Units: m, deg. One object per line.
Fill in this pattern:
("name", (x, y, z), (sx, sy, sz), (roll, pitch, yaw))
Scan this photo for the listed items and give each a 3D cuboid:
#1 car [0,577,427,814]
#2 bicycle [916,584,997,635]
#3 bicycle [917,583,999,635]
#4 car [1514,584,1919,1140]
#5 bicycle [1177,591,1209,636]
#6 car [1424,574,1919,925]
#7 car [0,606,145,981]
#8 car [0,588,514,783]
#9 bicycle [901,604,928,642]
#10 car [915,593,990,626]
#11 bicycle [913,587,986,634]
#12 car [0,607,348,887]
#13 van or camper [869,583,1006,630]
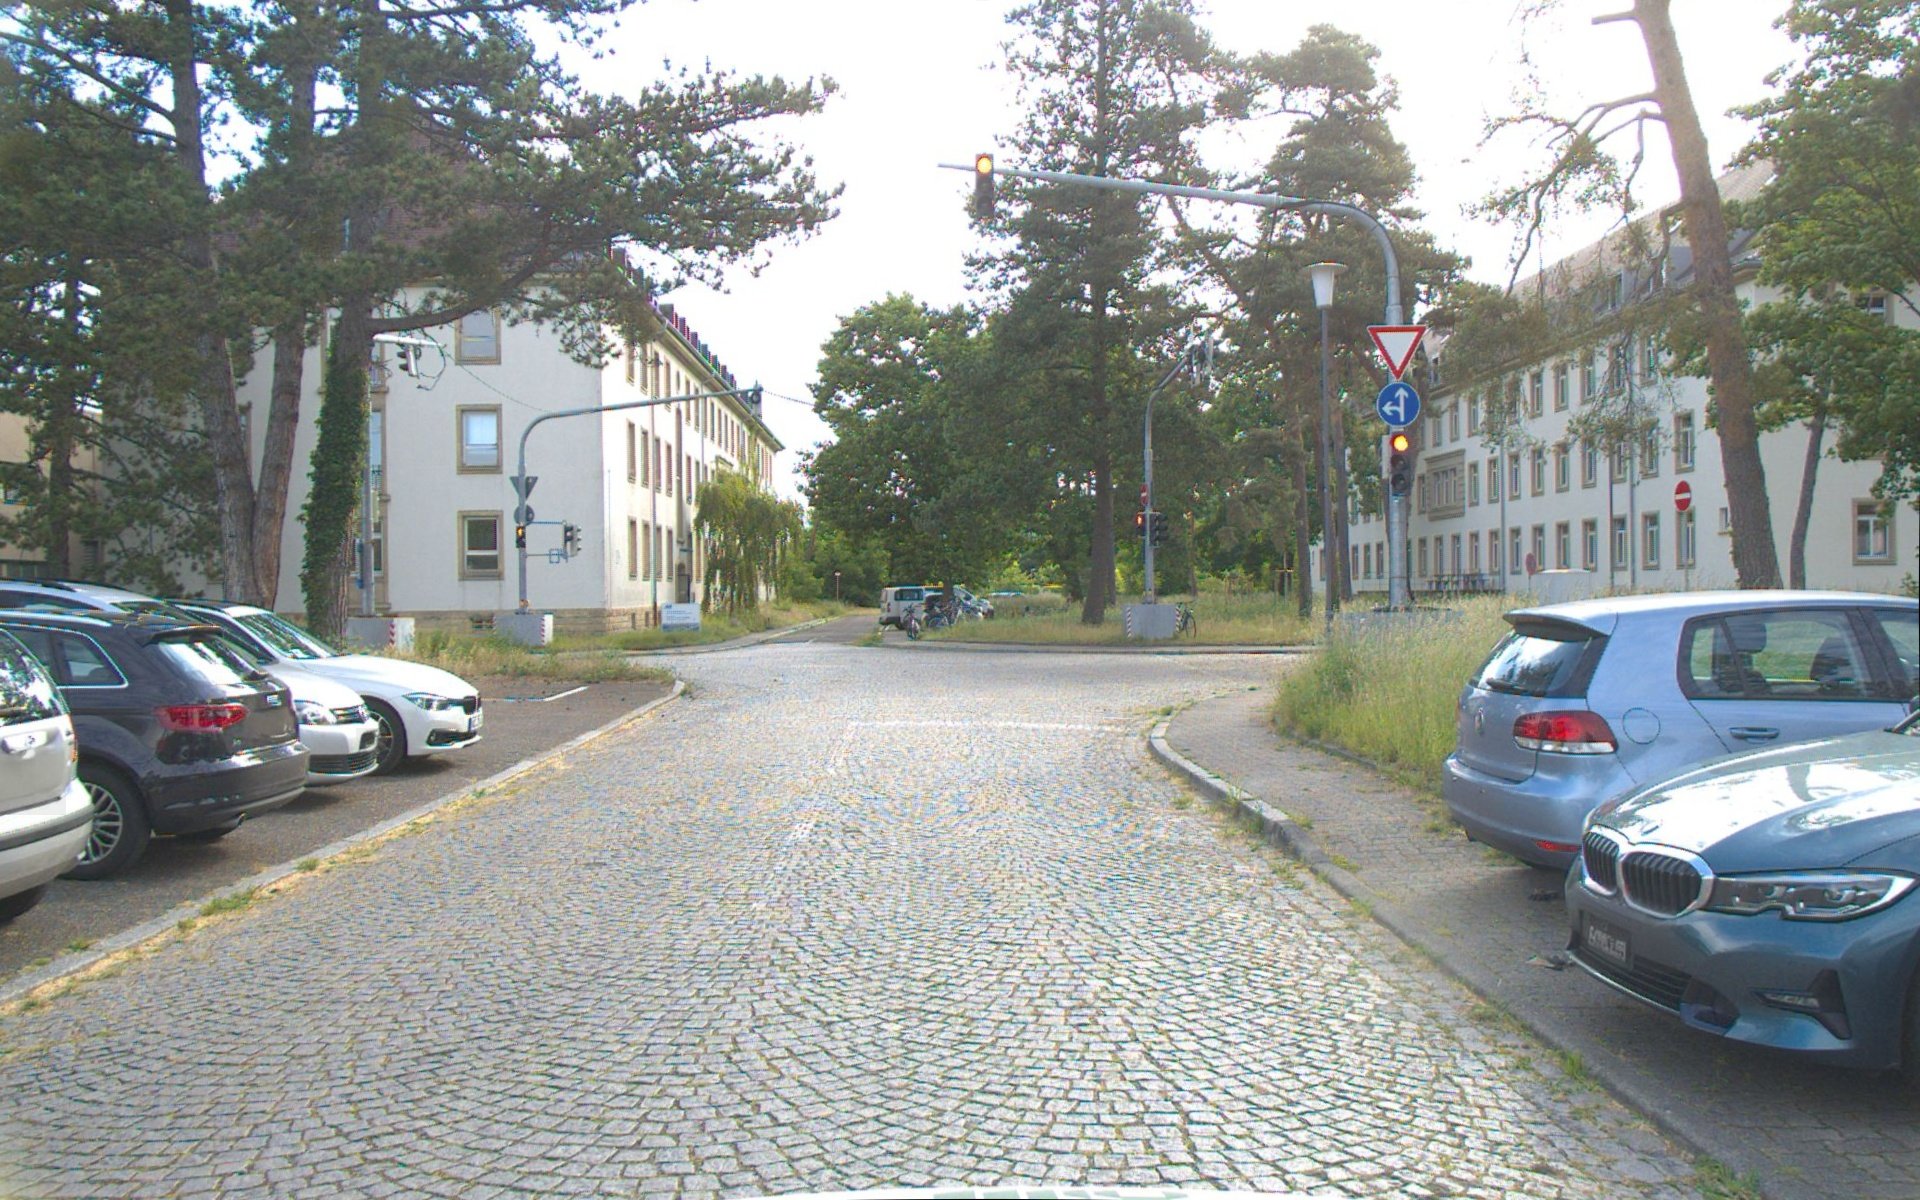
("car", (-6.233, 0.675, 12.634), (3.756, 1.635, 1.734), (1, 0, -4))
("bicycle", (-0.140, 0.328, 58.346), (2.724, 1.723, 1.118), (-1, 0, -9))
("bicycle", (-0.087, 0.303, 57.153), (2.723, 1.723, 1.118), (-1, 0, -7))
("car", (4.397, 0.685, 5.603), (4.424, 1.509, 1.806), (-1, 0, -4))
("bicycle", (6.408, 0.354, 45.529), (0.708, 1.189, 2.738), (1, 0, 5))
("car", (4.437, 0.634, 8.213), (3.765, 1.496, 1.641), (-2, 0, -2))
("car", (-5.668, 0.747, 7.062), (3.506, 1.501, 1.646), (2, 0, -4))
("car", (-6.483, 0.733, 14.965), (4.390, 1.467, 1.828), (3, 0, -5))
("bicycle", (-1.442, 0.713, 52.835), (0.711, 1.127, 2.462), (-5, 0, 0))
("car", (-0.331, 0.395, 71.542), (3.078, 1.378, 1.617), (-1, 0, -7))
("bicycle", (-0.389, 0.398, 63.244), (2.719, 1.724, 1.120), (1, 0, 0))
("car", (-5.805, 0.773, 9.703), (3.759, 1.433, 1.695), (2, 0, -2))
("van or camper", (-1.032, 0.273, 75.100), (5.932, 1.983, 1.992), (-1, 0, -15))
